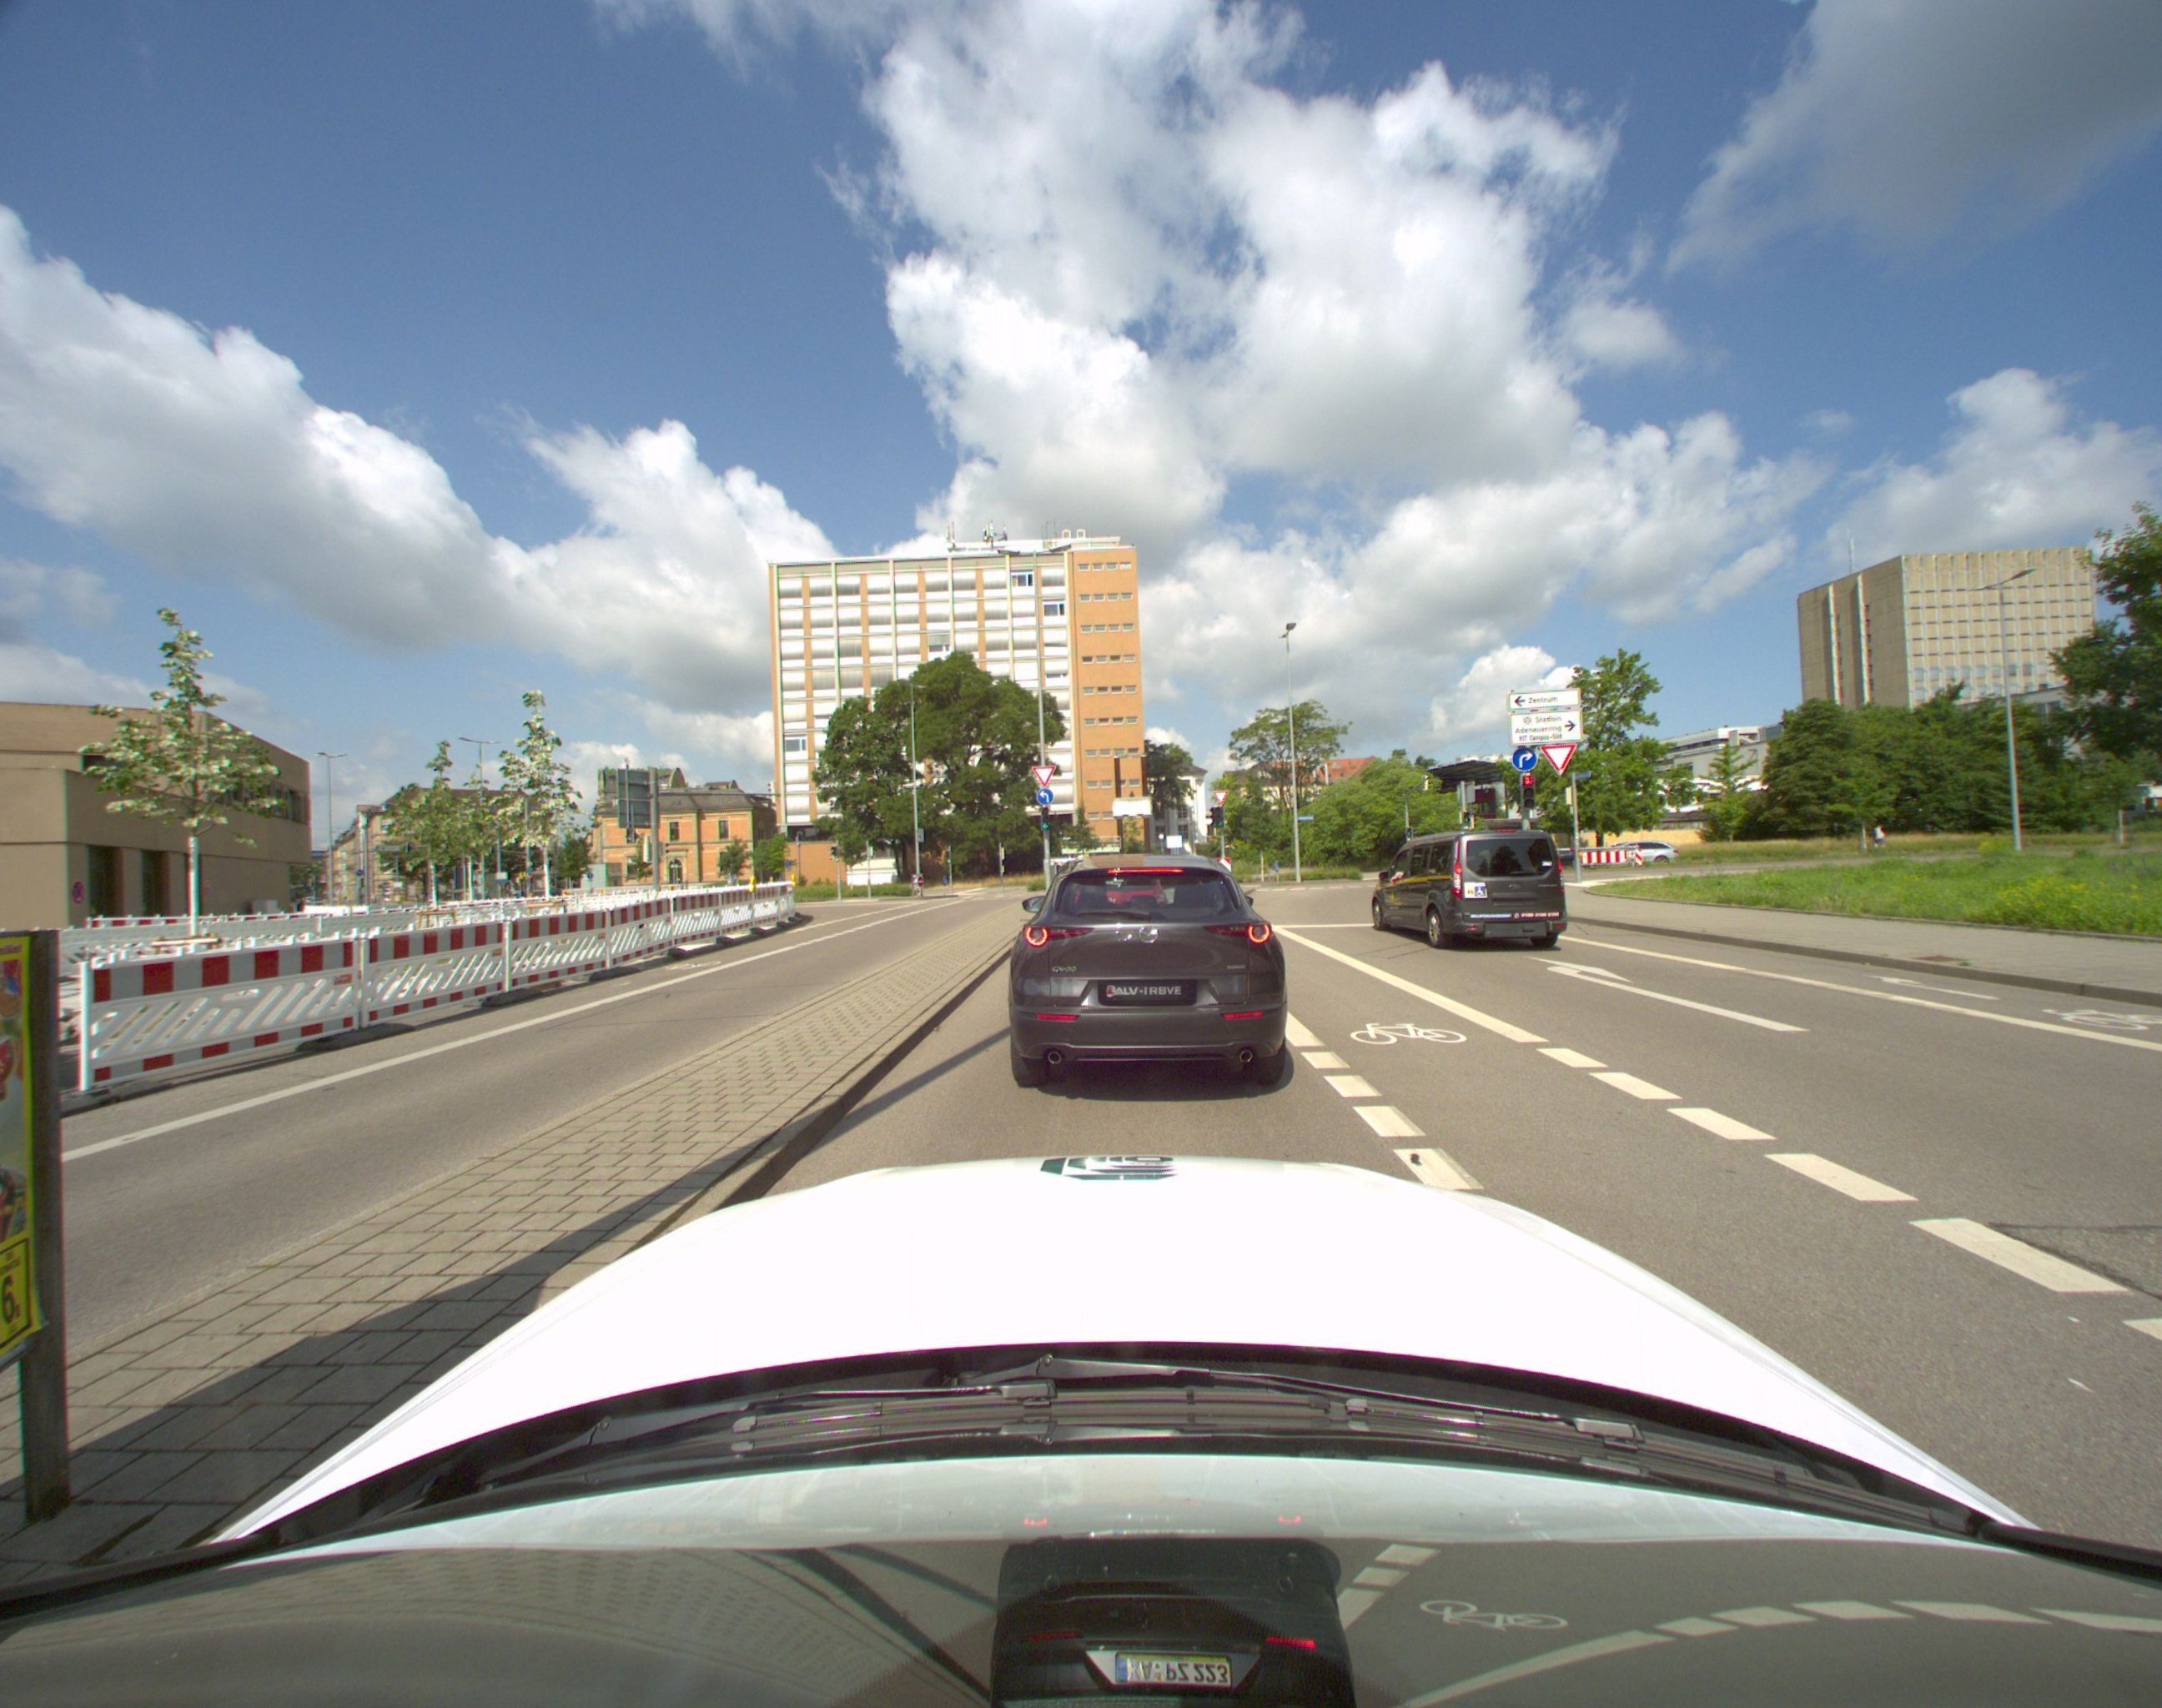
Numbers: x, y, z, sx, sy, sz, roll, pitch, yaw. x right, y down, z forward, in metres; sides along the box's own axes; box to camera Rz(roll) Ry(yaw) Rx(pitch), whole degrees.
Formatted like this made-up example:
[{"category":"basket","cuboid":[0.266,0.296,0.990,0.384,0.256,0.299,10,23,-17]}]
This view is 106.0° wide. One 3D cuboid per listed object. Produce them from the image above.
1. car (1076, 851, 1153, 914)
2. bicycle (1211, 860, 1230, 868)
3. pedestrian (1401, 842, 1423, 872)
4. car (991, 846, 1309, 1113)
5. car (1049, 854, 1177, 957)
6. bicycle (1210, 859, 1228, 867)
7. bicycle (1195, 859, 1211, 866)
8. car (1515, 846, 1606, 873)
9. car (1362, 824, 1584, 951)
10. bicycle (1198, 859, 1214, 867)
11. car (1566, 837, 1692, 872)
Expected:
[{"category":"car","cuboid":[0.954,0.713,22.340,1.840,1.472,4.338,-3,-1,3]},{"category":"bicycle","cuboid":[16.805,1.208,98.128,2.048,0.936,0.804,-3,-1,1]},{"category":"pedestrian","cuboid":[21.126,0.213,52.011,0.696,1.857,1.177,-3,-1,-8]},{"category":"car","cuboid":[0.457,0.717,6.721,1.799,1.508,4.206,0,0,2]},{"category":"car","cuboid":[0.578,0.734,13.617,1.808,1.439,4.071,0,0,3]},{"category":"bicycle","cuboid":[17.291,1.140,102.115,2.048,0.936,0.804,-3,-1,1]},{"category":"bicycle","cuboid":[17.256,1.247,115.182,2.048,0.936,0.804,-3,-1,1]},{"category":"car","cuboid":[28.186,0.318,47.977,4.128,1.377,2.002,-3,0,4]},{"category":"car","cuboid":[6.438,0.490,14.067,1.840,1.785,4.677,-1,0,4]},{"category":"bicycle","cuboid":[16.981,1.211,110.326,2.048,0.936,0.804,-3,-1,1]},{"category":"car","cuboid":[27.373,0.062,40.828,4.739,1.442,2.066,-3,-3,6]}]
